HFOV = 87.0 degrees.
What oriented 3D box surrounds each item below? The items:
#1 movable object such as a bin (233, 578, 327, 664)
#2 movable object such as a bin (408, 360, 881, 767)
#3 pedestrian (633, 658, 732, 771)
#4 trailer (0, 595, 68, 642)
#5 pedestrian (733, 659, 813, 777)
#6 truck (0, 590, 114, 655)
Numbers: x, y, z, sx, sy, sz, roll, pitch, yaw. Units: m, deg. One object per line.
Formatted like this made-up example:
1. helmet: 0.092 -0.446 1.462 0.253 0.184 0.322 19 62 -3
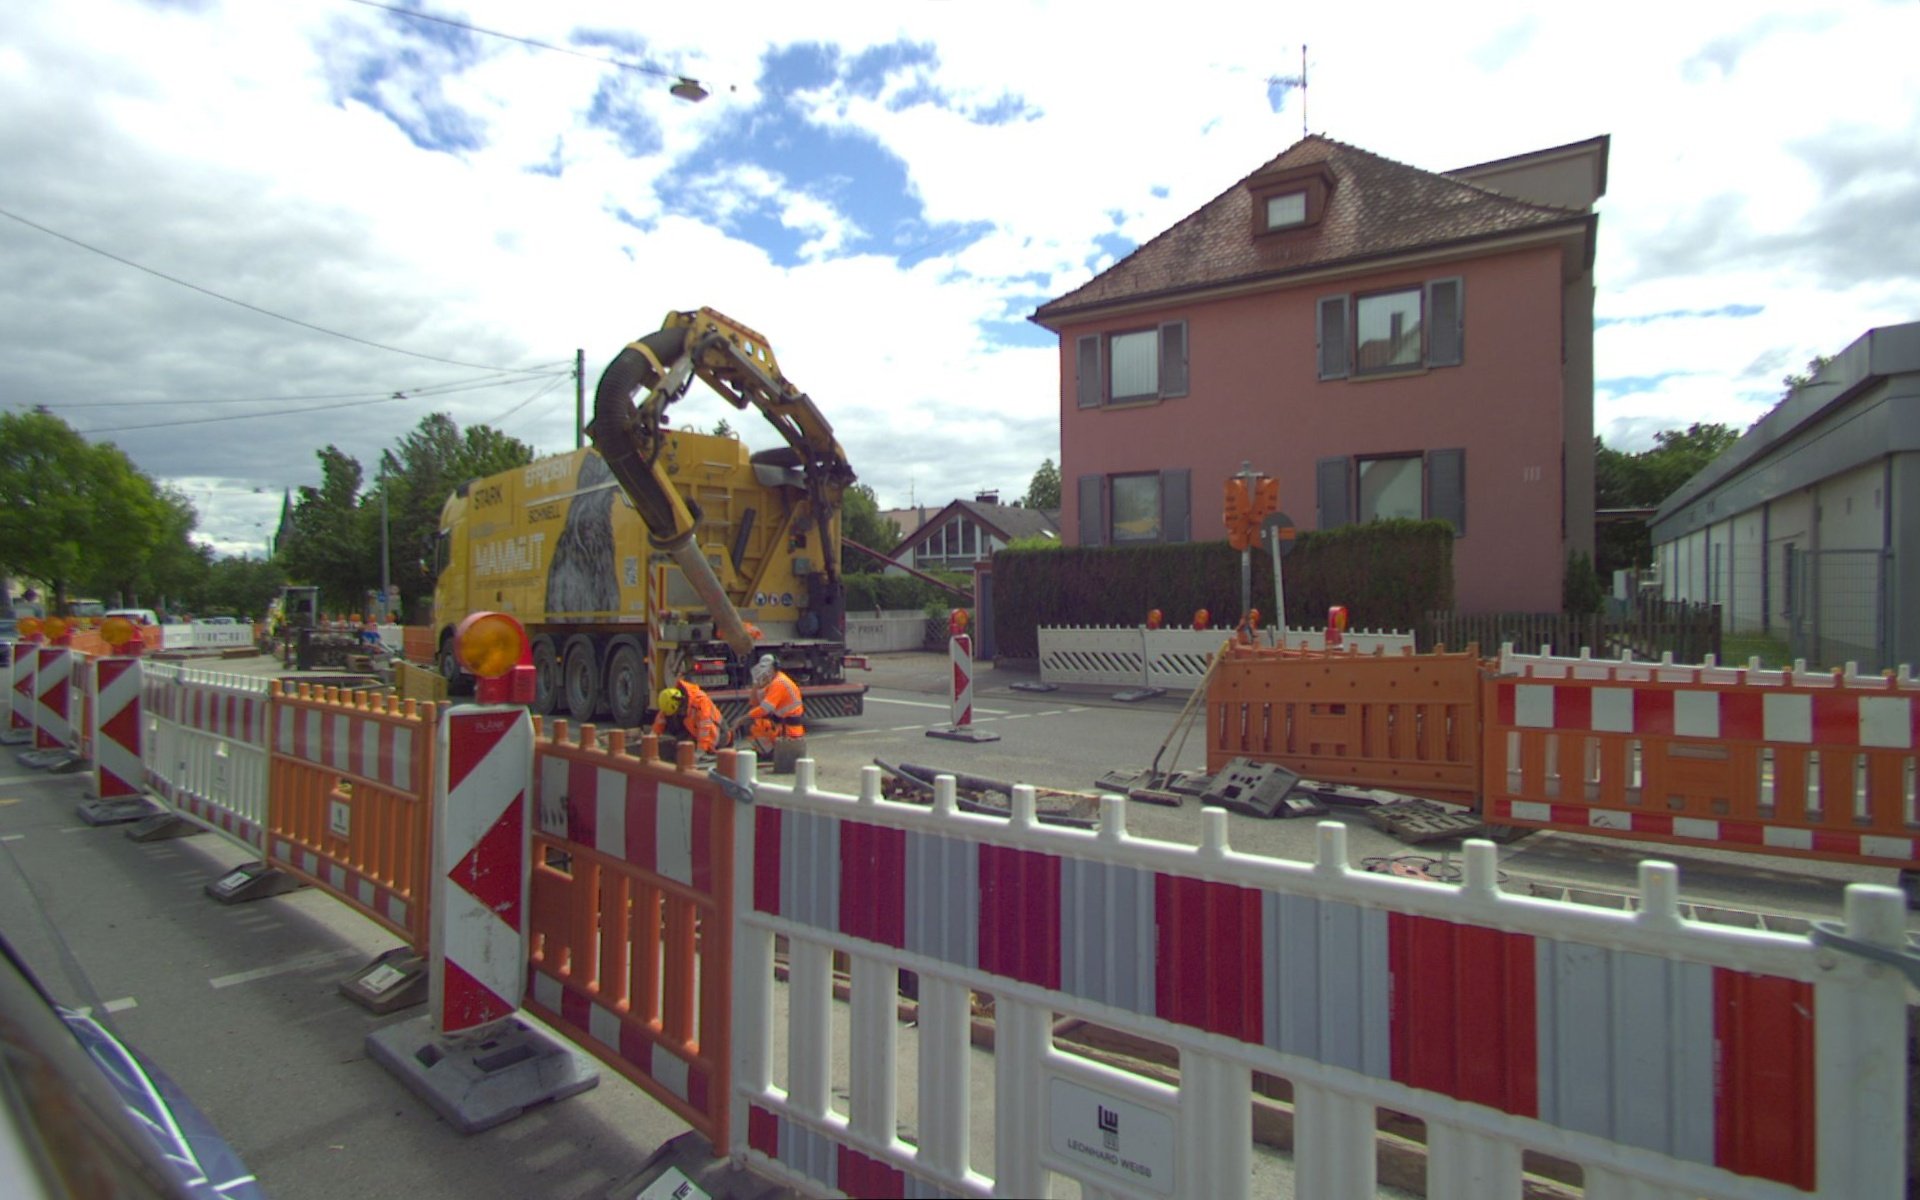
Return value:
1. movable object such as a bin: -23.005 0.704 34.446 1.965 2.645 6.543 0 -1 -28
2. movable object such as a bin: -5.629 -0.287 15.572 2.559 4.253 11.134 1 -1 -42
3. pedestrian: -2.751 1.101 10.004 0.779 0.998 0.814 0 -1 -28
4. trailer: -48.662 0.987 52.359 2.557 2.262 5.691 -3 1 -30
5. pedestrian: -1.766 1.079 9.482 0.632 0.998 0.796 0 -1 -18
6. truck: -53.076 1.336 58.743 6.557 3.223 2.336 -5 -2 9
